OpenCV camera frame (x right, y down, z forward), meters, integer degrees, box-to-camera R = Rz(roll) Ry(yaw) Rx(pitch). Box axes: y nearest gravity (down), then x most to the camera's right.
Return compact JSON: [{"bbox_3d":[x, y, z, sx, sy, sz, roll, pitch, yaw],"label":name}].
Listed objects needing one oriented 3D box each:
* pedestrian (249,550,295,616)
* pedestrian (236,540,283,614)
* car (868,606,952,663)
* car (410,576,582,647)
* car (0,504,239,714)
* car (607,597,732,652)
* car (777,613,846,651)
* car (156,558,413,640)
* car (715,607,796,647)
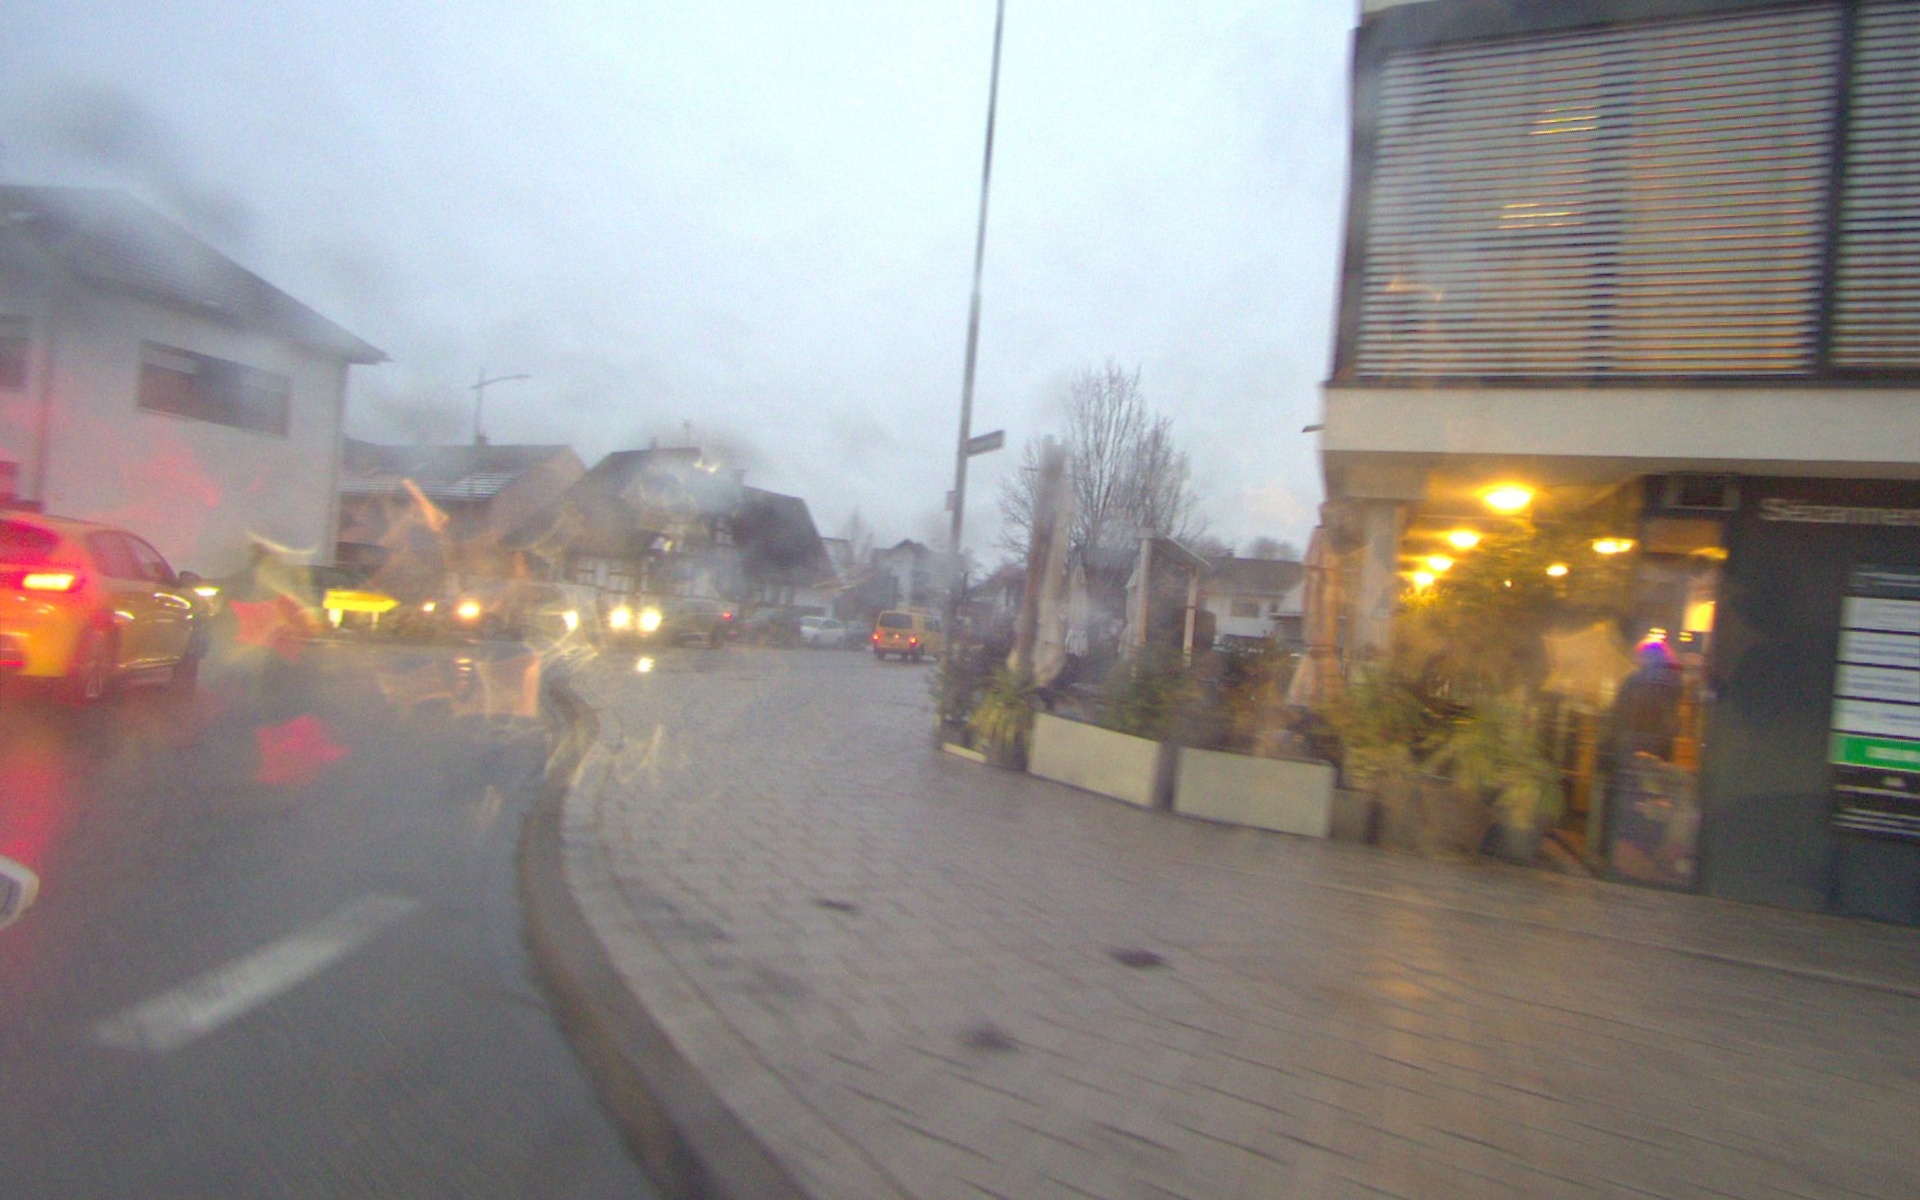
[{"bbox_3d":[-18.171,-0.439,26.561,0.573,1.641,0.715,6,0,34],"label":"pedestrian"},{"bbox_3d":[-18.792,-0.616,26.994,0.627,1.854,0.715,7,1,34],"label":"pedestrian"},{"bbox_3d":[-2.012,1.503,42.400,1.962,2.037,4.904,6,-1,15],"label":"car"},{"bbox_3d":[-12.248,0.349,26.821,1.666,1.570,3.999,4,-2,23],"label":"car"},{"bbox_3d":[-7.884,-0.041,8.664,1.692,1.438,3.993,7,-1,-22],"label":"car"},{"bbox_3d":[-9.620,0.863,33.725,1.666,1.526,4.258,4,-2,22],"label":"car"},{"bbox_3d":[-7.242,1.591,49.452,1.642,1.568,3.718,6,-2,20],"label":"car"},{"bbox_3d":[-14.498,0.035,21.864,1.819,1.400,4.232,2,-3,27],"label":"car"},{"bbox_3d":[-8.975,1.228,44.391,1.696,1.483,3.710,6,-2,20],"label":"car"}]
